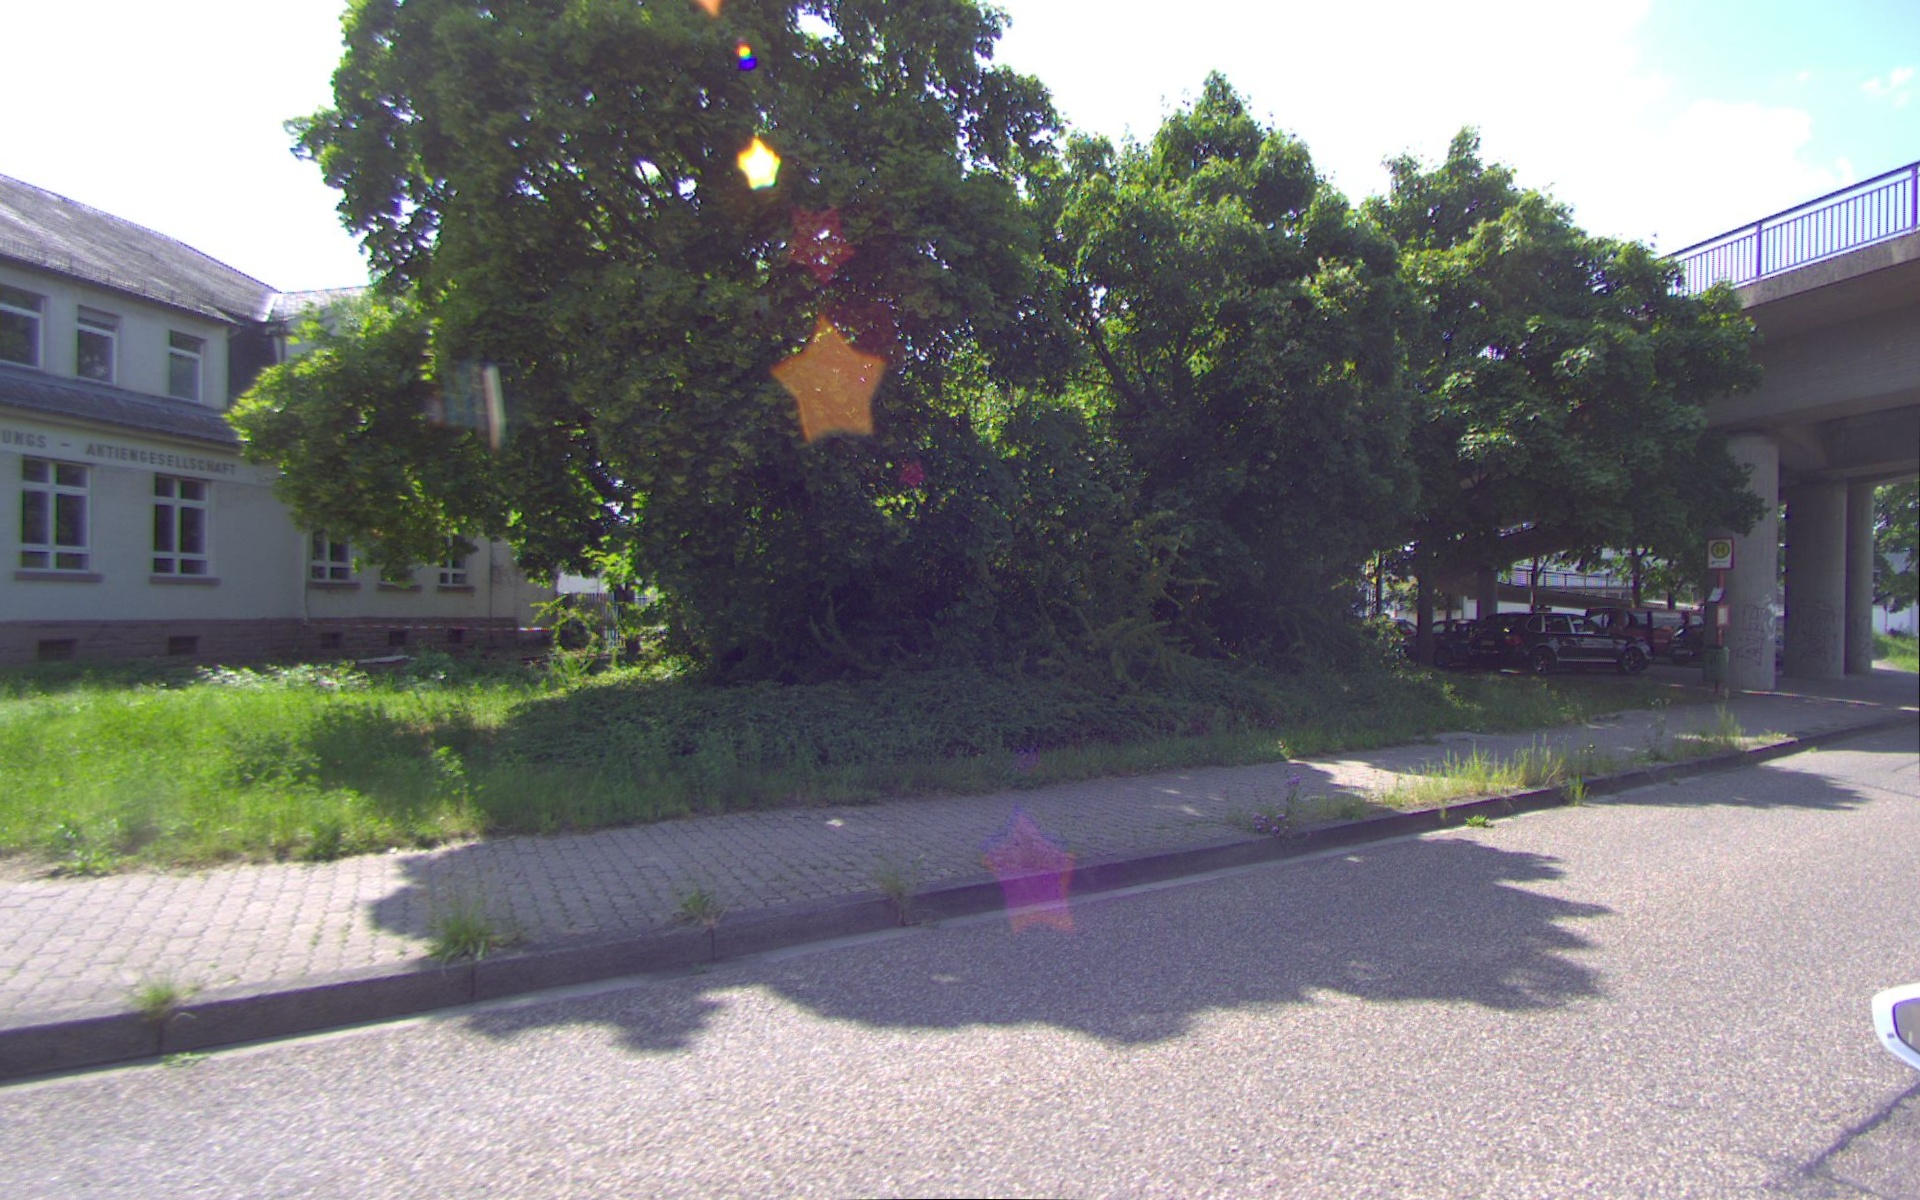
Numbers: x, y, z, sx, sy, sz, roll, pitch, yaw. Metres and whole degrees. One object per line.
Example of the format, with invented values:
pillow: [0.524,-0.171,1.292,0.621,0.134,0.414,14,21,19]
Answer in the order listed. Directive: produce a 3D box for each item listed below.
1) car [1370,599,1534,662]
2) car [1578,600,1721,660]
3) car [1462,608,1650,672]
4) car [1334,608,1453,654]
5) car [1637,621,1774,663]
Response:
car: [14.568,0.897,29.864,3.927,1.741,1.997,1,-1,-8]
car: [25.019,1.076,36.519,3.880,2.040,1.947,1,-1,-1]
car: [16.113,1.065,27.195,4.495,1.651,1.680,1,-1,-13]
car: [14.307,1.012,33.202,3.212,1.471,1.751,1,-1,-14]
car: [24.999,1.386,33.770,3.383,1.301,1.693,1,-1,-2]
